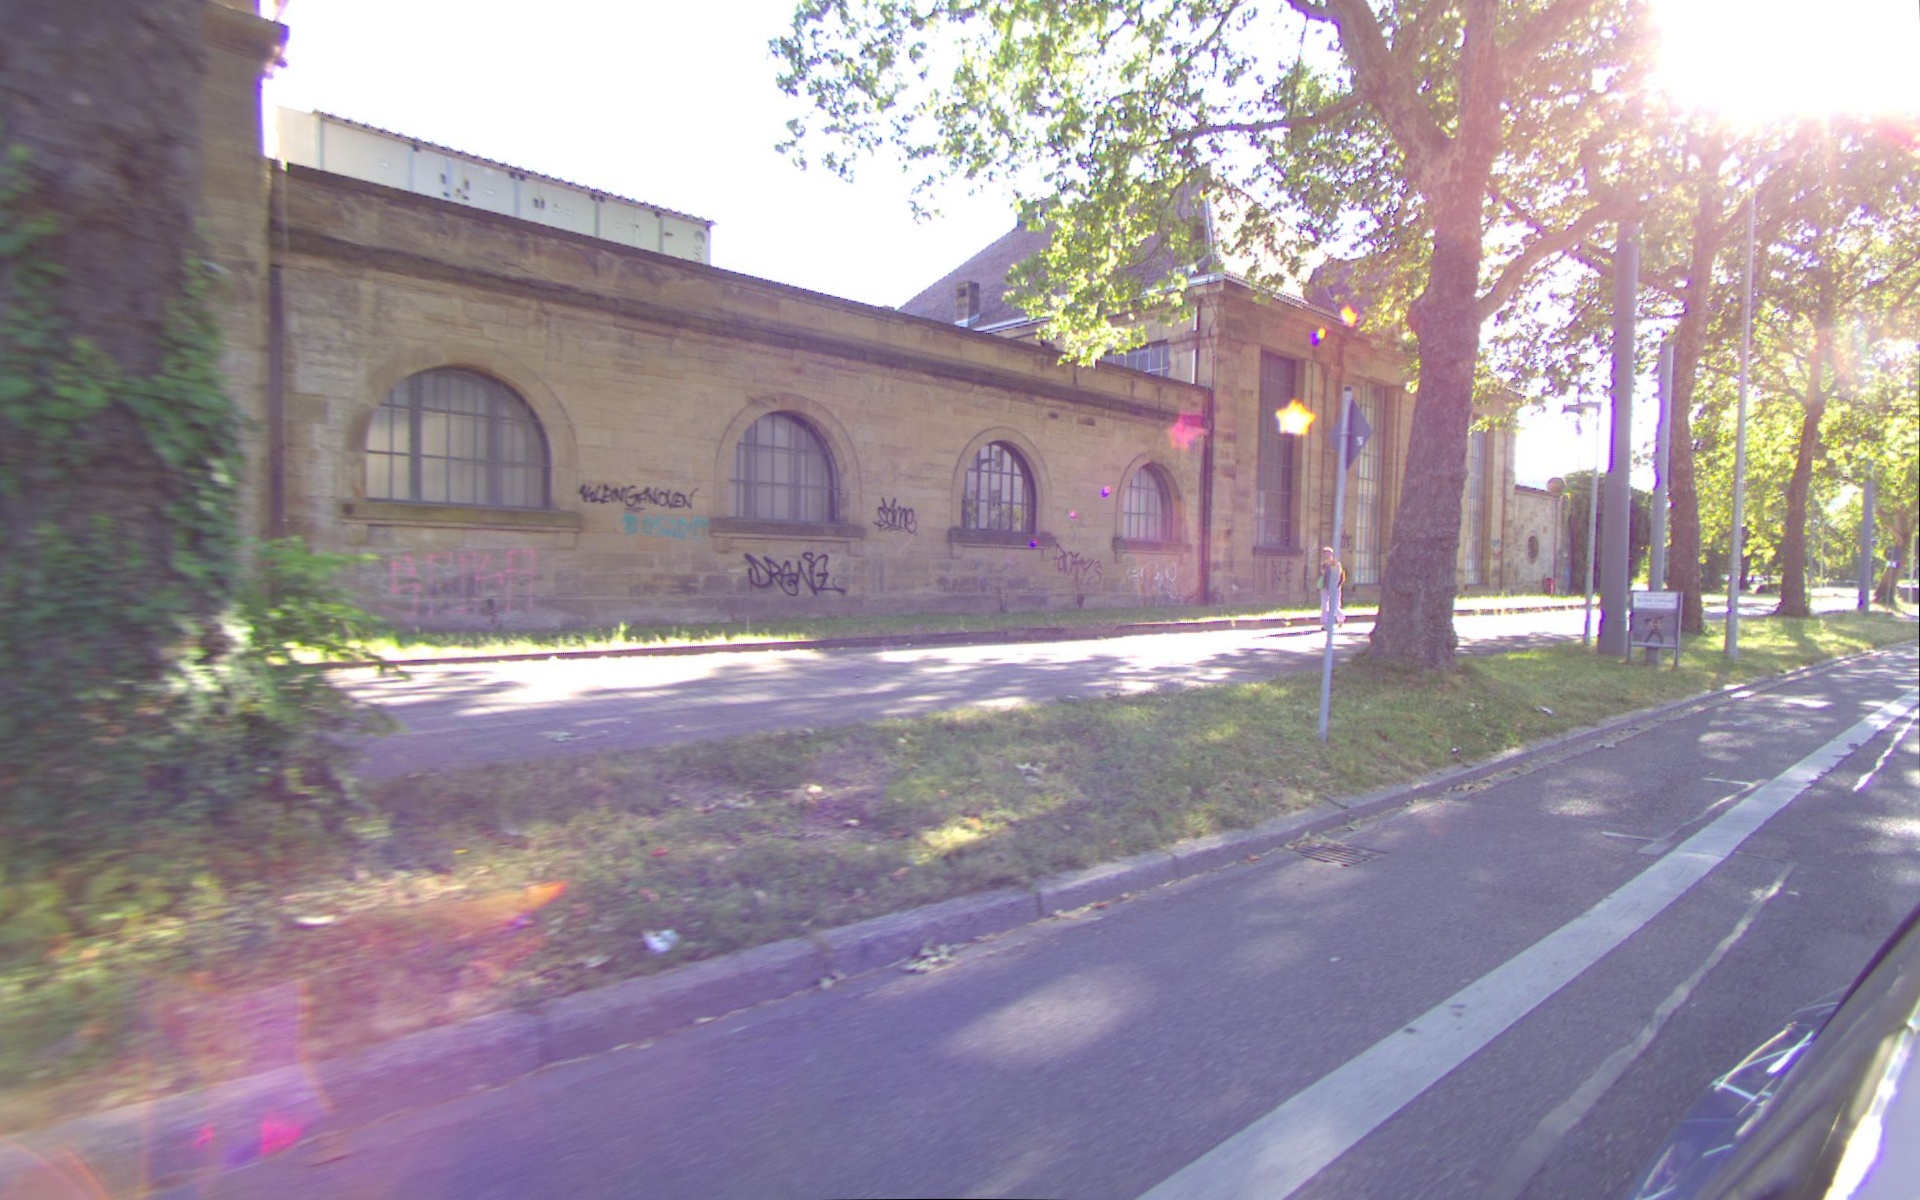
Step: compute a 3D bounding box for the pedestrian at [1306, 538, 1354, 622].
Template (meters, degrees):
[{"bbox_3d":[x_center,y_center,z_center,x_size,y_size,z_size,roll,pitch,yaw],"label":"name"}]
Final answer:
[{"bbox_3d":[7.754,-0.425,21.215,0.626,1.701,0.609,-1,6,-45],"label":"pedestrian"}]
